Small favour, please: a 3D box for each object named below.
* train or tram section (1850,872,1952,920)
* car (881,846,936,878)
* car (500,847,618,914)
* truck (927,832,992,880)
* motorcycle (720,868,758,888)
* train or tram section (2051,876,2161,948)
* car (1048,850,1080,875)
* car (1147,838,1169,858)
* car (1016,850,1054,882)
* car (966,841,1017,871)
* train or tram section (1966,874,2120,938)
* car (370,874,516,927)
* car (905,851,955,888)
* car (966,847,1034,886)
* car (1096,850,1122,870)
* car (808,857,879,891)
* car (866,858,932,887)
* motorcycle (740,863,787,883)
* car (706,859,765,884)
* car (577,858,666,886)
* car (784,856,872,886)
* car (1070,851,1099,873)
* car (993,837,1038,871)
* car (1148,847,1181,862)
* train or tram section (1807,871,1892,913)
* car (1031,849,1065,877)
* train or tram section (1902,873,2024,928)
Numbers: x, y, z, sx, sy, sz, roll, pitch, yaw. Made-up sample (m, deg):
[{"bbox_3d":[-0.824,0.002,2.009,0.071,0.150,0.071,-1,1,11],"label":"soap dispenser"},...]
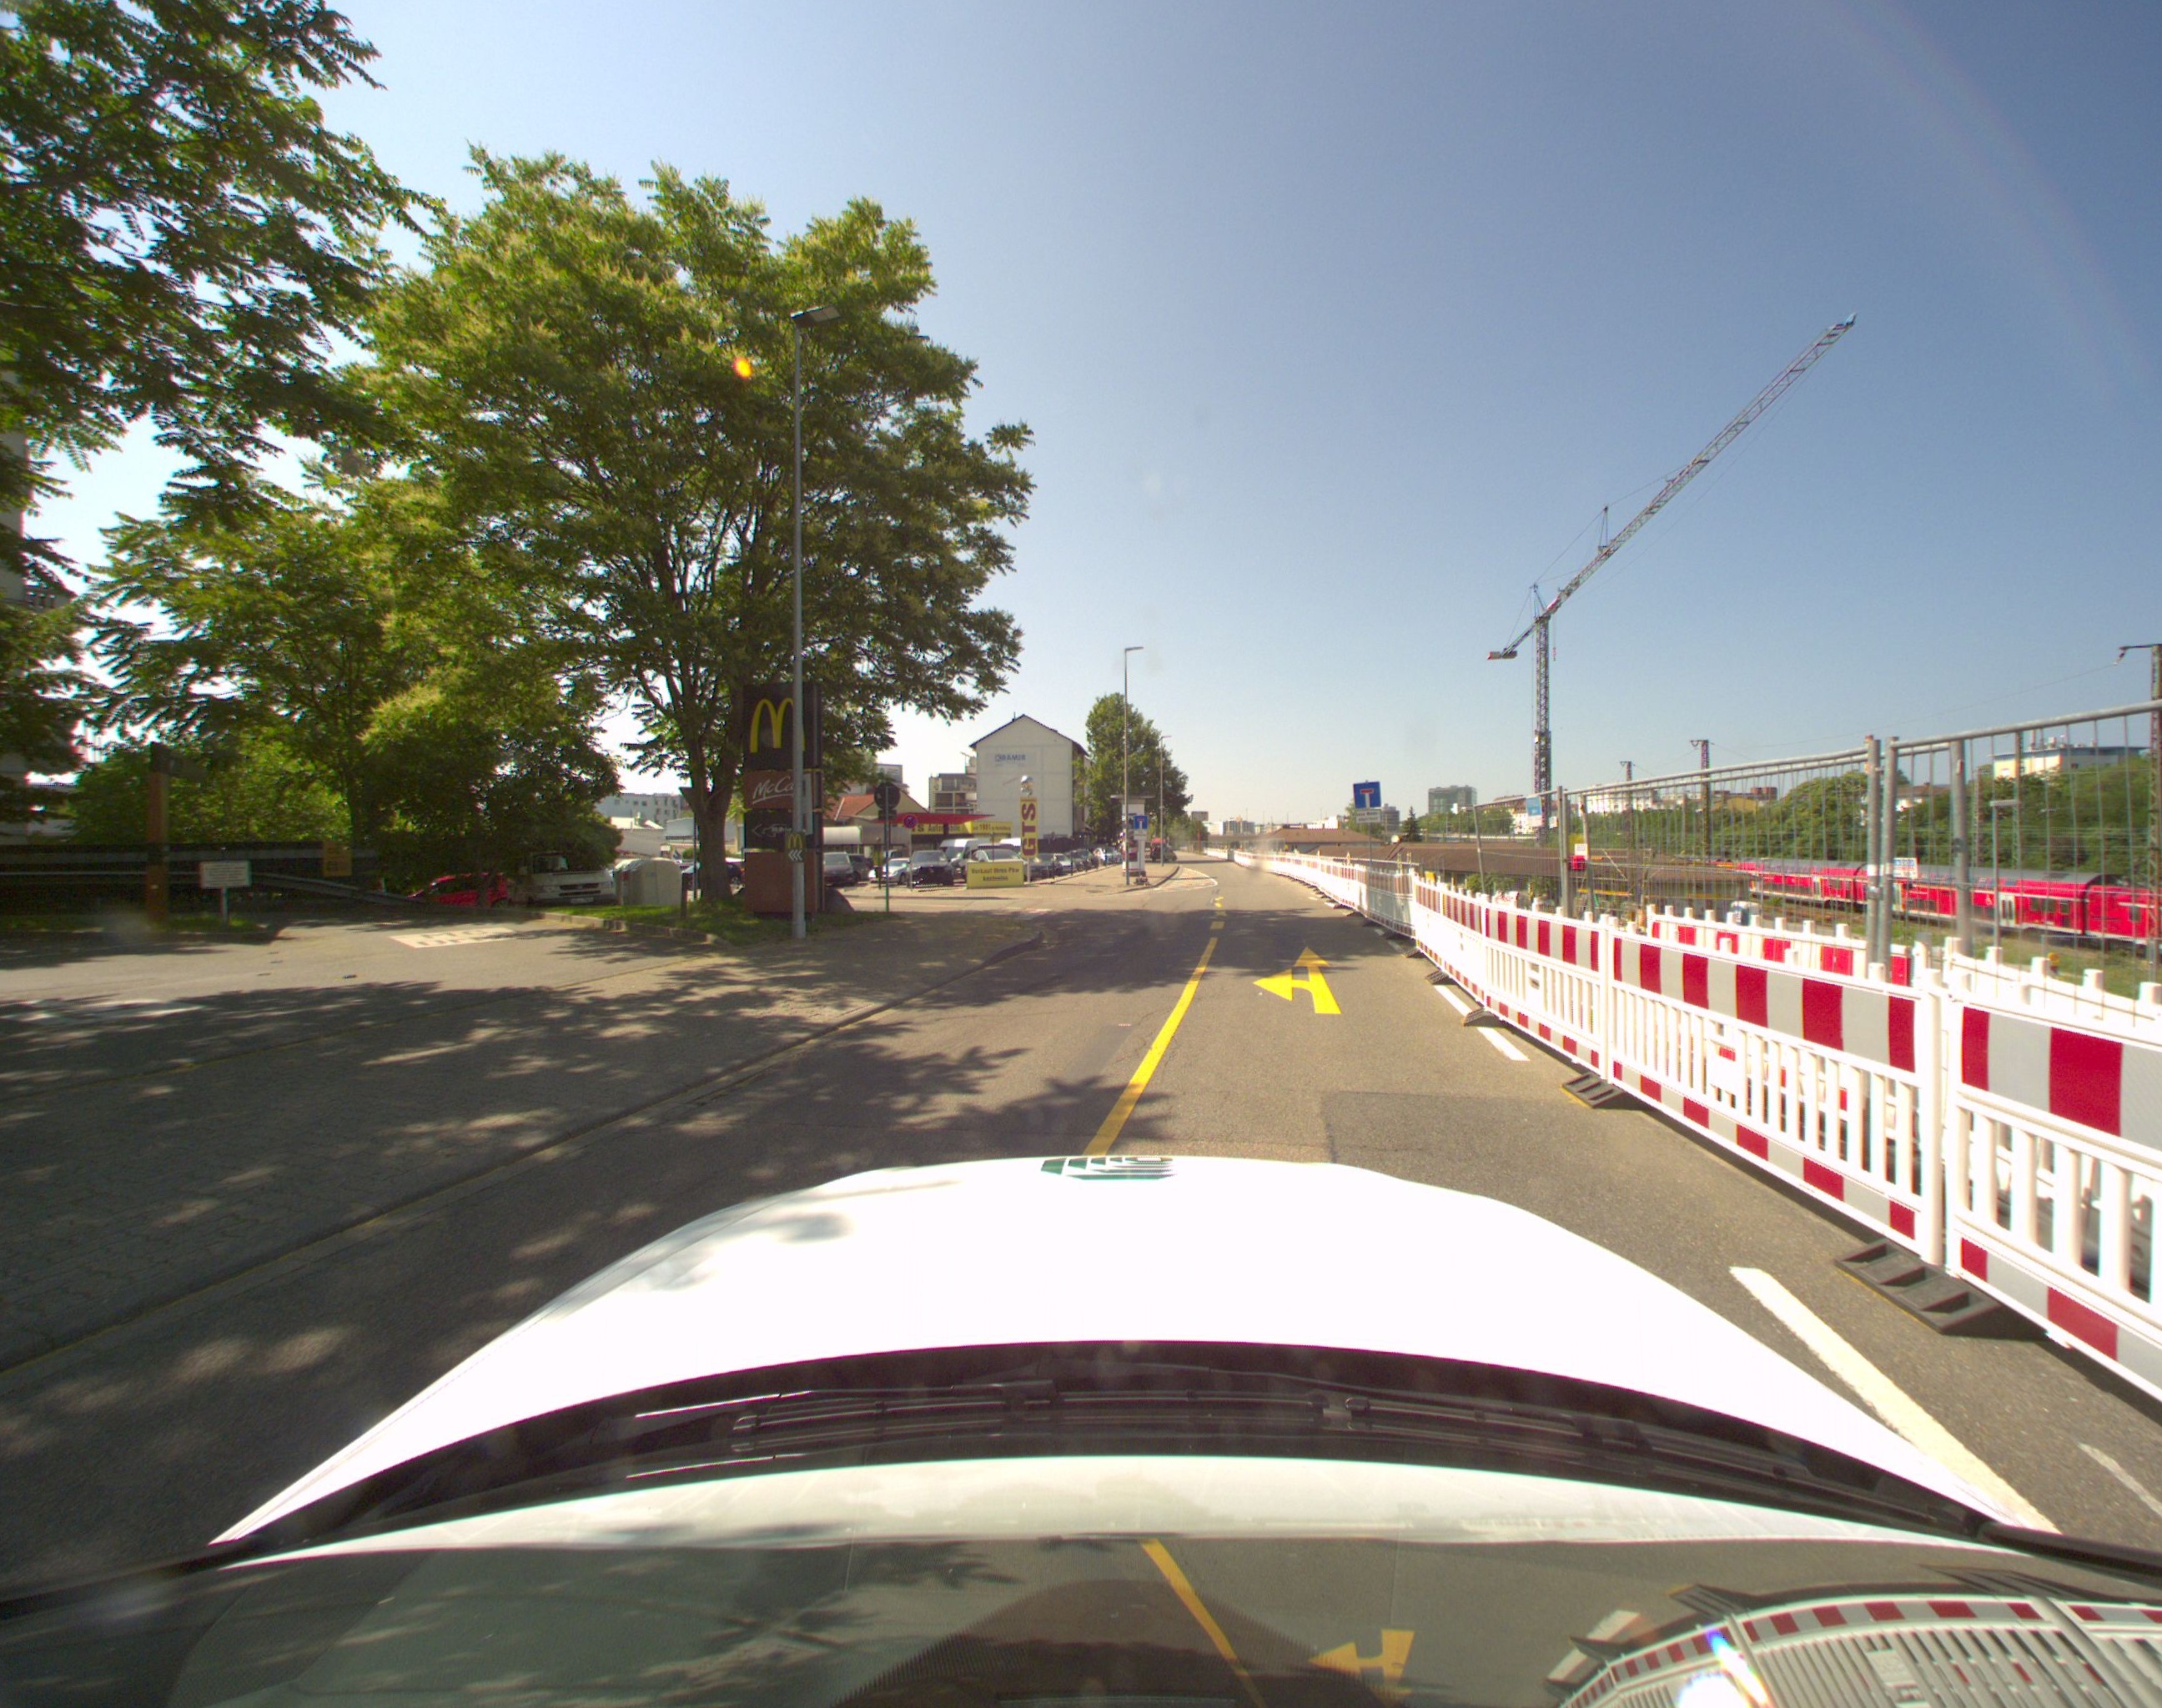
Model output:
[{"bbox_3d":[71.673,3.551,71.497,2.988,3.703,9.021,2,0,23],"label":"train or tram section"},{"bbox_3d":[-11.198,0.526,53.318,1.982,2.014,4.507,0,0,9],"label":"car"},{"bbox_3d":[-14.158,0.619,21.967,1.968,1.583,4.972,1,0,-41],"label":"car"},{"bbox_3d":[-7.839,0.116,53.409,2.254,2.903,5.962,1,0,12],"label":"truck"},{"bbox_3d":[-20.041,1.408,47.715,1.884,1.158,0.780,1,-1,-40],"label":"motorcycle"},{"bbox_3d":[60.930,3.278,46.765,2.988,3.711,9.022,2,0,24],"label":"train or tram section"},{"bbox_3d":[-1.149,0.558,54.685,1.854,1.629,3.992,0,0,-6],"label":"car"},{"bbox_3d":[9.970,-0.793,105.361,2.523,2.520,5.131,0,0,9],"label":"car"},{"bbox_3d":[-2.500,0.584,43.525,1.854,1.629,3.992,0,0,-6],"label":"car"},{"bbox_3d":[-5.454,0.107,50.428,1.866,1.738,4.736,1,0,10],"label":"car"},{"bbox_3d":[64.551,3.310,55.023,2.988,3.703,9.022,2,0,24],"label":"train or tram section"},{"bbox_3d":[-20.378,1.420,26.107,1.467,1.378,3.437,2,2,39],"label":"car"},{"bbox_3d":[-7.019,0.670,37.582,2.049,1.594,4.402,0,0,-14],"label":"car"},{"bbox_3d":[-3.910,0.584,38.764,2.003,1.725,3.967,1,-1,-25],"label":"car"},{"bbox_3d":[2.413,0.509,71.091,1.854,1.629,3.992,0,0,-6],"label":"car"},{"bbox_3d":[-11.296,0.917,39.037,1.778,1.510,4.009,0,0,8],"label":"car"},{"bbox_3d":[-9.961,0.972,44.796,1.774,1.487,4.018,0,0,17],"label":"car"},{"bbox_3d":[-19.933,1.186,51.253,0.986,1.227,2.735,0,-1,30],"label":"motorcycle"},{"bbox_3d":[-22.844,1.118,53.813,3.949,1.585,2.012,0,-1,40],"label":"car"},{"bbox_3d":[-29.904,1.143,53.143,1.974,1.725,4.683,-1,-1,31],"label":"car"},{"bbox_3d":[-14.028,0.907,45.229,4.346,1.585,1.981,0,-1,-29],"label":"car"},{"bbox_3d":[0.213,0.622,63.316,1.854,1.629,3.992,0,0,-6],"label":"car"},{"bbox_3d":[-4.457,-0.015,56.406,2.124,2.284,4.721,0,0,8],"label":"car"},{"bbox_3d":[9.361,0.097,91.301,3.292,1.637,1.709,1,-1,-32],"label":"car"},{"bbox_3d":[75.119,3.589,79.818,2.988,3.703,9.021,2,0,23],"label":"train or tram section"},{"bbox_3d":[-2.049,0.517,49.140,1.854,1.629,3.992,0,0,-6],"label":"car"},{"bbox_3d":[68.149,3.464,63.253,2.988,3.703,9.022,2,0,24],"label":"train or tram section"}]
